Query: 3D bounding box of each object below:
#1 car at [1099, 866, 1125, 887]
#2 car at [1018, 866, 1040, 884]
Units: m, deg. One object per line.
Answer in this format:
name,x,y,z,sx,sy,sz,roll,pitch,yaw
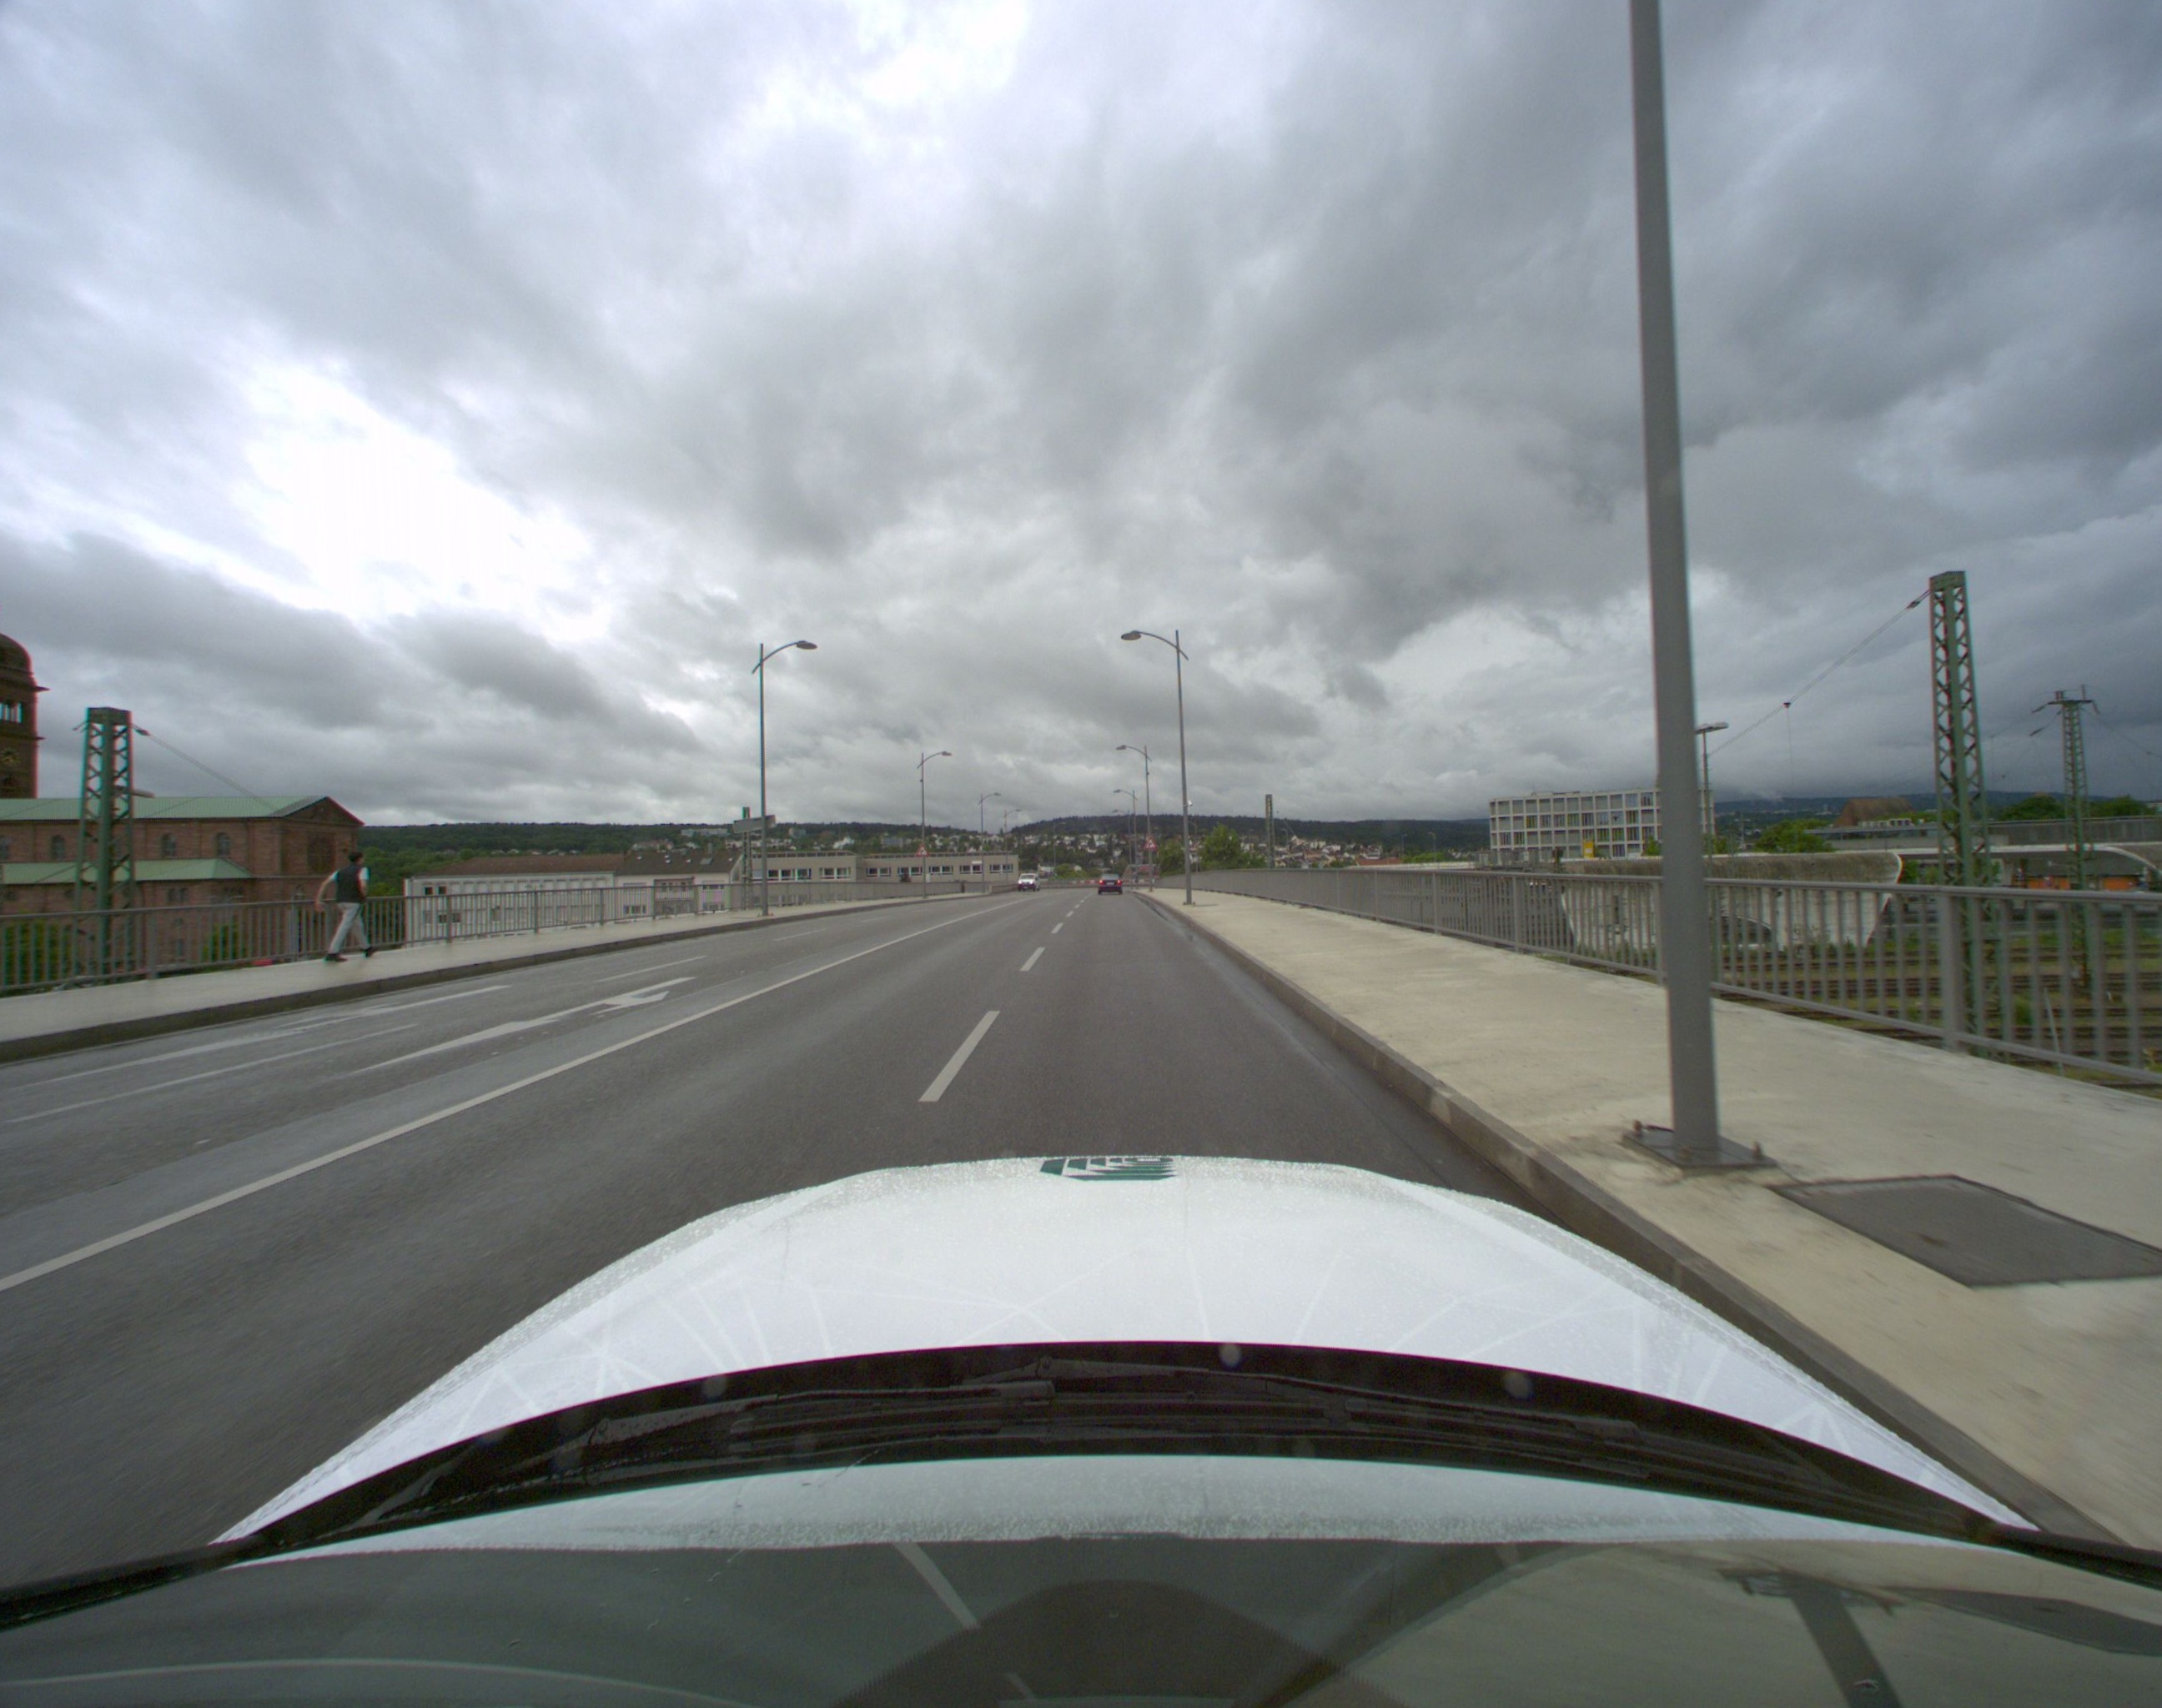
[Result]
car,2.122,1.583,56.846,1.700,1.420,3.725,-1,-2,1
car,-5.702,2.331,89.472,1.879,1.822,4.960,-1,-3,3
